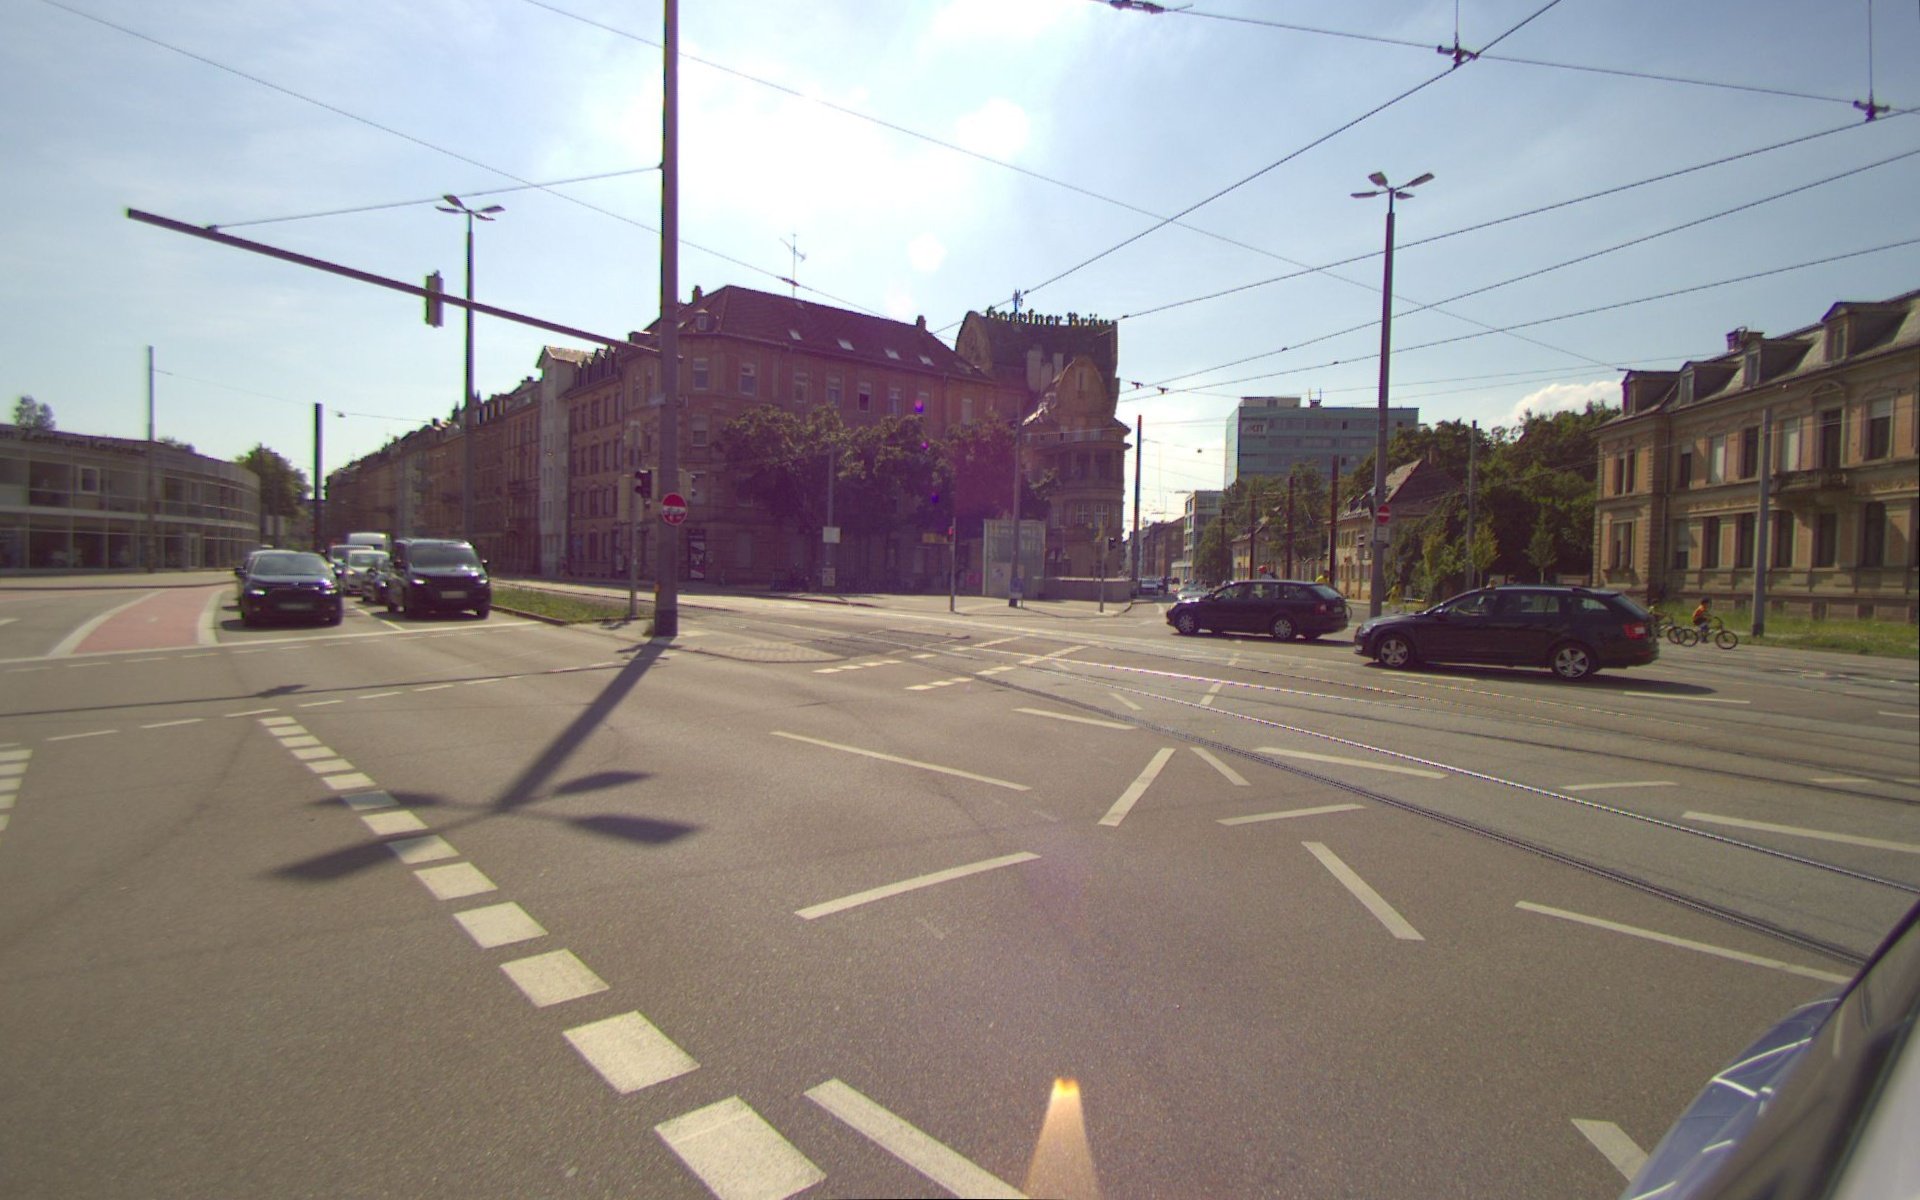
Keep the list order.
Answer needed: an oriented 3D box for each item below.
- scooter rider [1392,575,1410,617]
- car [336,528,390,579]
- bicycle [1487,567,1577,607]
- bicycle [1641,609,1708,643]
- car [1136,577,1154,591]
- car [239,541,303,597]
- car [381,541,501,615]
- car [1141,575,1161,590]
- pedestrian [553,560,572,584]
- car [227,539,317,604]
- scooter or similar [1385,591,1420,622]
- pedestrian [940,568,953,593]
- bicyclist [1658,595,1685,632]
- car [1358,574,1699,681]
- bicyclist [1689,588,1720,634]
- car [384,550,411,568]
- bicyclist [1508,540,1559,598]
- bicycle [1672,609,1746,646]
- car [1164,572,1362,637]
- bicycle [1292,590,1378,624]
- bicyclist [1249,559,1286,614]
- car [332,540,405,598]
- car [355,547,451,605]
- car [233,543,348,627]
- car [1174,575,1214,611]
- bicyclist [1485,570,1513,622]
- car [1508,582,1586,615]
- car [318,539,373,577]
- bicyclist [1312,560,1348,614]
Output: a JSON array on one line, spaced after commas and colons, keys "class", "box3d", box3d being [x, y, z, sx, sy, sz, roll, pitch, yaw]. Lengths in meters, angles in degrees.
[{"class": "scooter rider", "box3d": [15.107, -0.130, 34.661, 0.404, 1.415, 0.580, 1, -1, 36]}, {"class": "car", "box3d": [-33.843, -2.554, 57.503, 2.170, 2.608, 5.884, 2, 0, -27]}, {"class": "bicycle", "box3d": [15.639, -0.371, 27.723, 0.704, 1.028, 2.017, 3, -1, -41]}, {"class": "bicycle", "box3d": [20.833, 0.748, 29.538, 1.577, 0.876, 0.495, 3, 0, 36]}, {"class": "car", "box3d": [19.405, -1.684, 106.226, 1.610, 1.362, 3.606, 2, 2, 6]}, {"class": "car", "box3d": [-22.887, -1.001, 33.542, 1.626, 1.760, 4.200, 0, 1, -36]}, {"class": "car", "box3d": [-12.737, -0.572, 24.665, 1.930, 1.607, 4.717, 0, 2, -36]}, {"class": "car", "box3d": [18.667, -1.749, 98.881, 1.610, 1.362, 3.578, 2, 2, 6]}, {"class": "pedestrian", "box3d": [-24.500, -1.709, 62.444, 0.870, 1.450, 0.713, 1, 1, -1]}, {"class": "car", "box3d": [-18.524, -0.746, 27.205, 1.865, 1.607, 4.000, 0, 1, -36]}, {"class": "scooter or similar", "box3d": [15.134, 0.222, 34.631, 0.986, 0.988, 0.580, 2, -1, 37]}, {"class": "pedestrian", "box3d": [-0.808, -1.187, 60.903, 0.699, 1.451, 0.614, 2, -1, -1]}, {"class": "bicyclist", "box3d": [20.790, 0.384, 29.595, 0.601, 1.042, 0.495, 3, 0, 35]}, {"class": "car", "box3d": [9.368, 0.352, 16.941, 4.757, 1.453, 1.613, 3, 2, 39]}, {"class": "bicyclist", "box3d": [20.416, 0.302, 27.754, 0.599, 1.211, 0.514, 3, 2, 34]}, {"class": "car", "box3d": [-66.936, -4.875, 120.351, 2.077, 2.039, 3.997, 3, -1, -38]}, {"class": "bicyclist", "box3d": [15.685, -0.841, 27.689, 0.702, 1.507, 0.950, 3, -1, -33]}, {"class": "bicycle", "box3d": [20.448, 0.735, 27.657, 1.565, 0.897, 0.514, 4, 2, 34]}, {"class": "car", "box3d": [7.320, 0.070, 24.732, 4.382, 1.447, 1.679, 1, 1, 43]}, {"class": "bicycle", "box3d": [13.131, 0.246, 35.511, 2.708, 1.083, 0.924, 2, -1, 16]}, {"class": "bicyclist", "box3d": [9.575, -0.433, 31.546, 0.705, 1.689, 0.872, -3, 4, -45]}, {"class": "car", "box3d": [-21.253, -1.071, 36.283, 1.865, 1.941, 4.200, 0, 1, -36]}, {"class": "car", "box3d": [-16.700, -0.700, 30.259, 1.866, 1.607, 3.997, 0, 1, -38]}, {"class": "car", "box3d": [-14.300, -0.394, 21.539, 1.862, 1.607, 4.211, -1, 3, -36]}, {"class": "car", "box3d": [11.564, -0.314, 49.832, 1.616, 1.604, 3.978, 2, 0, 17]}, {"class": "bicyclist", "box3d": [17.445, -0.145, 32.758, 0.647, 1.641, 0.494, 3, 0, 42]}, {"class": "car", "box3d": [26.625, -0.087, 46.017, 1.642, 1.329, 3.450, 2, 2, 3]}, {"class": "car", "box3d": [-29.510, -2.024, 48.726, 2.149, 1.701, 5.035, 0, 2, -30]}, {"class": "bicyclist", "box3d": [12.988, -0.435, 35.547, 1.037, 1.843, 0.925, 2, -1, 15]}]
